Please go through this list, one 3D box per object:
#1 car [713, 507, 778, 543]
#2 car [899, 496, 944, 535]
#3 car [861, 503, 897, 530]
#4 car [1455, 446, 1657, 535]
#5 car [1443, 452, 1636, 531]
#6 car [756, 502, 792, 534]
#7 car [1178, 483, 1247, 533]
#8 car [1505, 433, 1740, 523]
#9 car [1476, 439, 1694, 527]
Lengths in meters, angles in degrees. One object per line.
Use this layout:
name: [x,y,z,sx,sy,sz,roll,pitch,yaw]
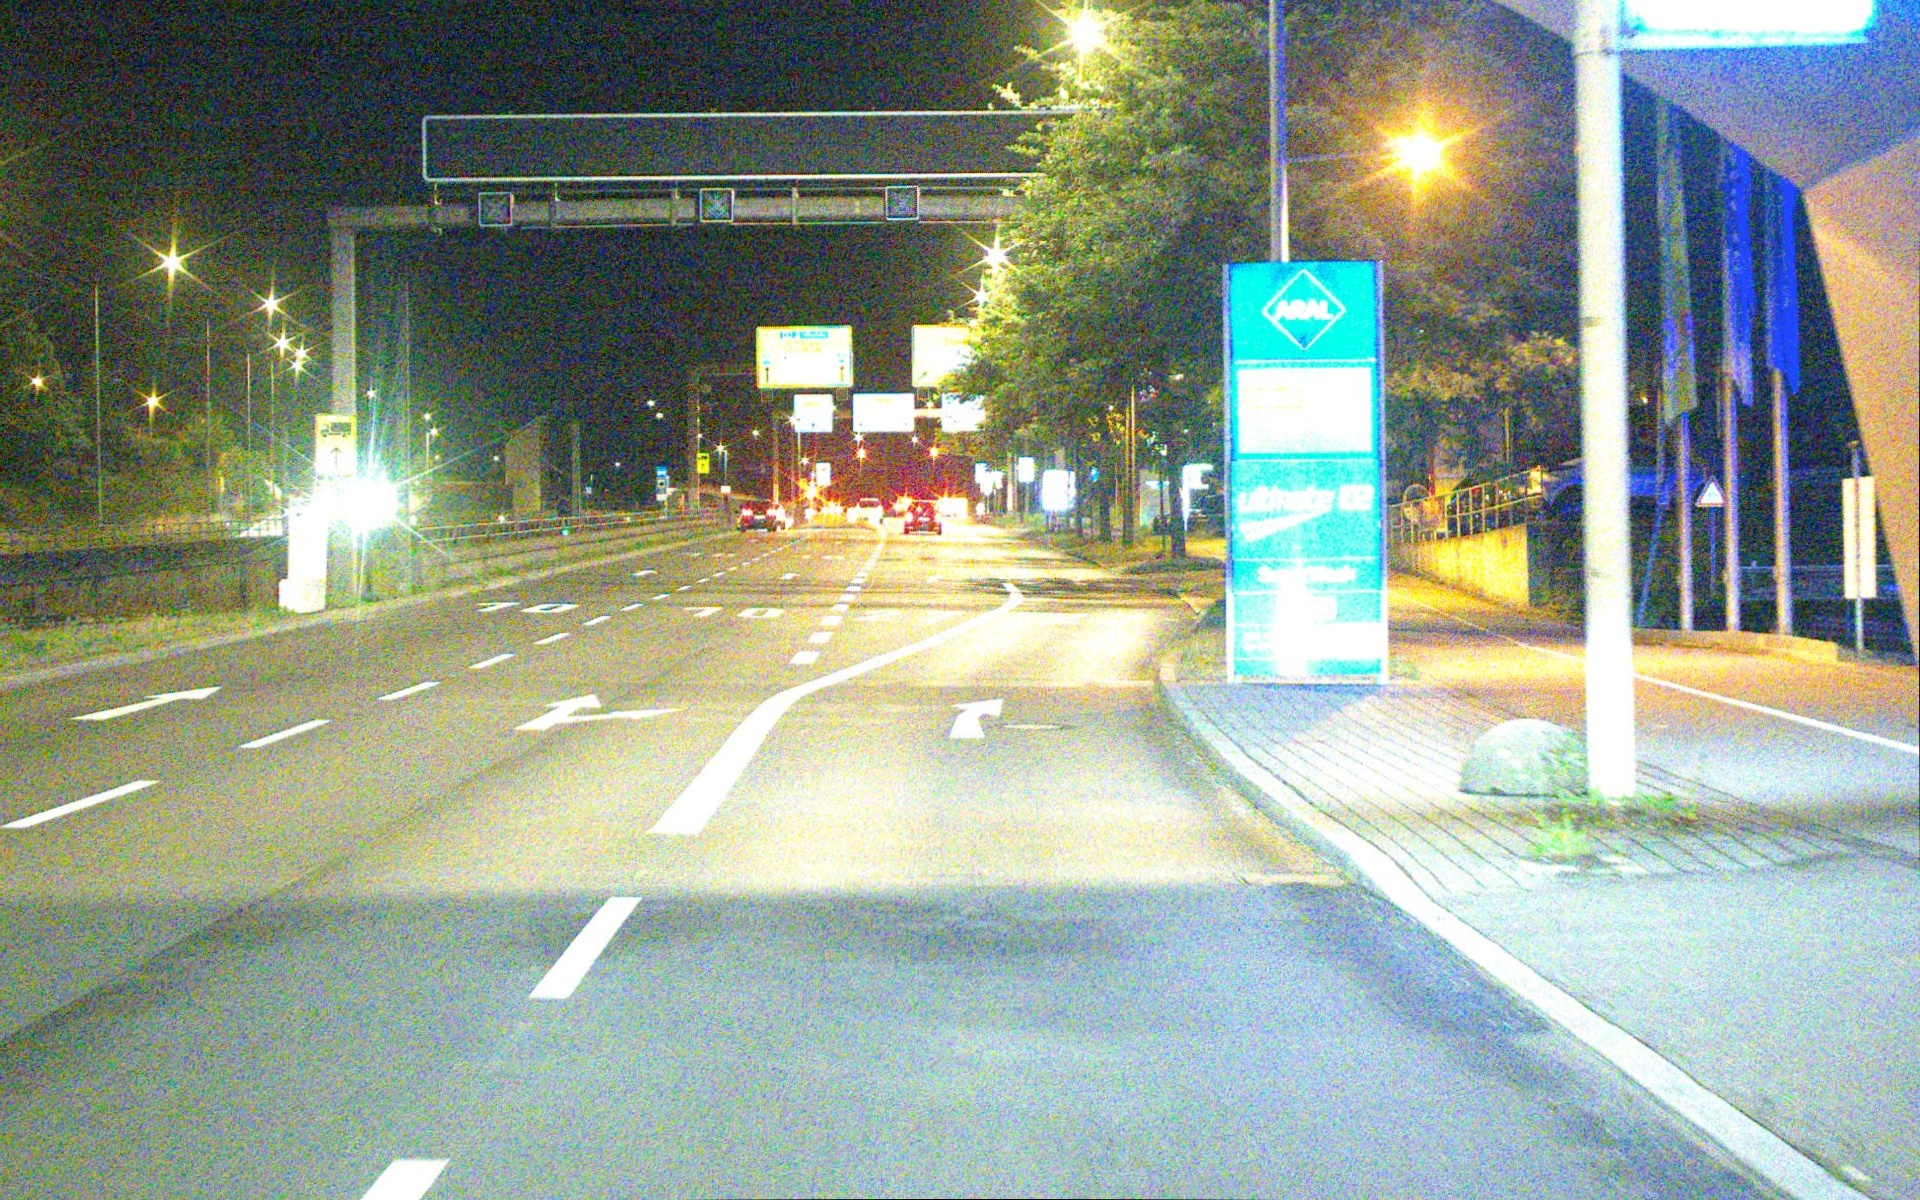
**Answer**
car: [-10.782,-3.747,172.602,1.967,1.705,4.001,1,0,-23]
car: [-1.825,-3.990,163.459,1.968,1.705,4.000,1,0,2]
car: [-5.099,-5.255,217.134,2.005,1.546,4.295,1,0,2]
car: [12.281,-2.246,70.944,3.747,1.582,1.780,-3,0,-2]
car: [12.314,-2.301,73.136,3.724,1.484,1.742,-2,0,-2]
car: [-10.641,-4.673,196.510,1.782,1.705,4.001,1,0,-6]
car: [10.567,-3.844,143.652,1.995,1.938,3.997,1,0,17]
car: [12.624,-2.314,65.694,4.119,1.517,1.822,-2,-1,1]
car: [12.404,-2.318,68.424,3.987,1.566,1.738,-2,0,1]
